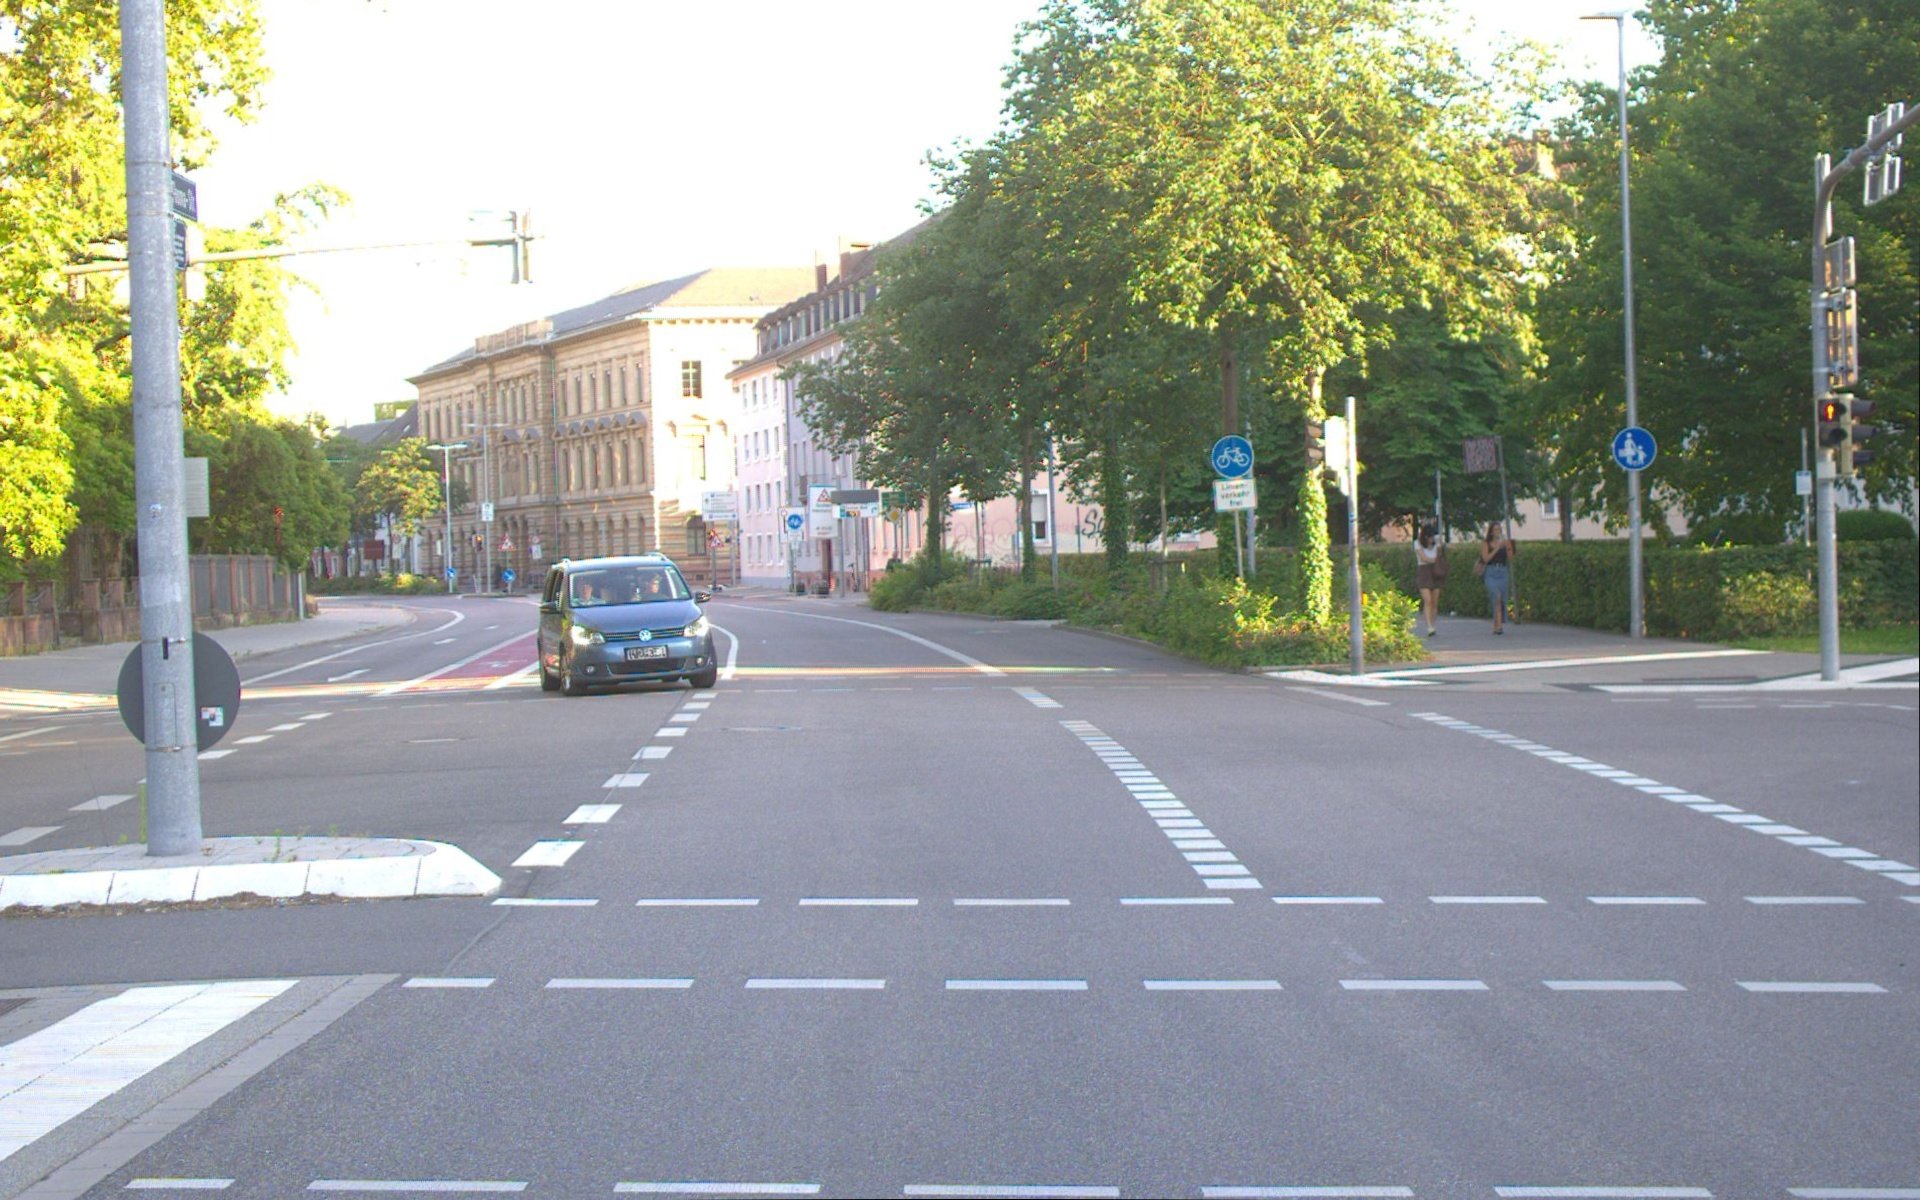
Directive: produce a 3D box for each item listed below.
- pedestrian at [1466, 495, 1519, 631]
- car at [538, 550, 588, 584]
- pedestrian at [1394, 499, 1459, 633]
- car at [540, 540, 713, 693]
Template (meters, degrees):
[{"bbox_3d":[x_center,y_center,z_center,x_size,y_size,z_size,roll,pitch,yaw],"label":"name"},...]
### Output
[{"bbox_3d":[7.977,-0.555,51.521,0.635,2.007,0.720,-1,1,-4],"label":"pedestrian"},{"bbox_3d":[-19.607,-1.650,169.740,1.819,1.583,4.001,-3,1,-14],"label":"car"},{"bbox_3d":[7.062,-0.521,52.032,0.870,2.007,0.722,0,1,-1],"label":"pedestrian"},{"bbox_3d":[-4.109,0.160,41.797,1.849,1.714,4.297,-2,1,-8],"label":"car"}]
